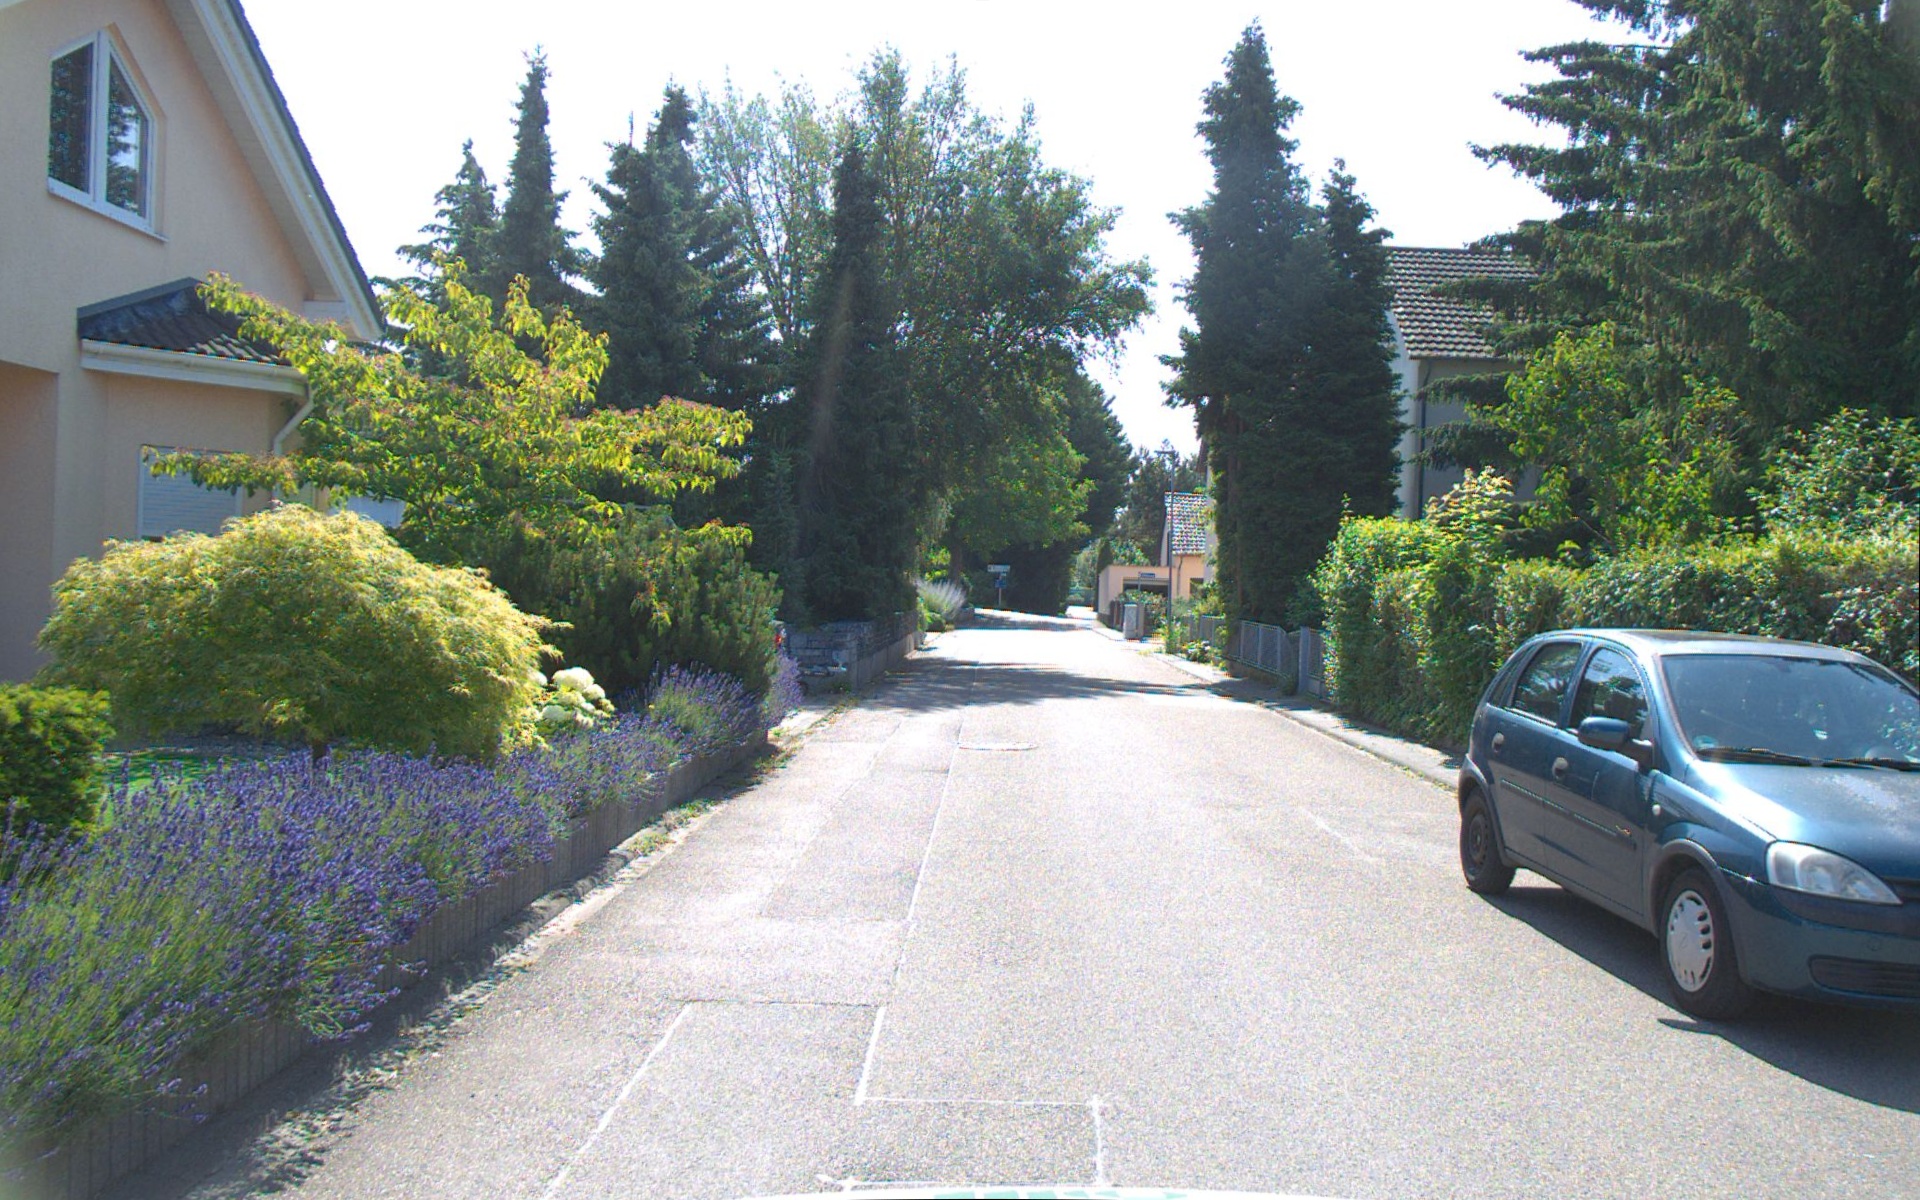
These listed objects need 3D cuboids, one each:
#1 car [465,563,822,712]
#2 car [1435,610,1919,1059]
[{"bbox_3d":[-3.487,0.391,18.731,3.659,1.471,1.756,2,1,-1],"label":"car"},{"bbox_3d":[3.589,0.825,7.523,1.668,1.424,4.000,3,0,0],"label":"car"}]
